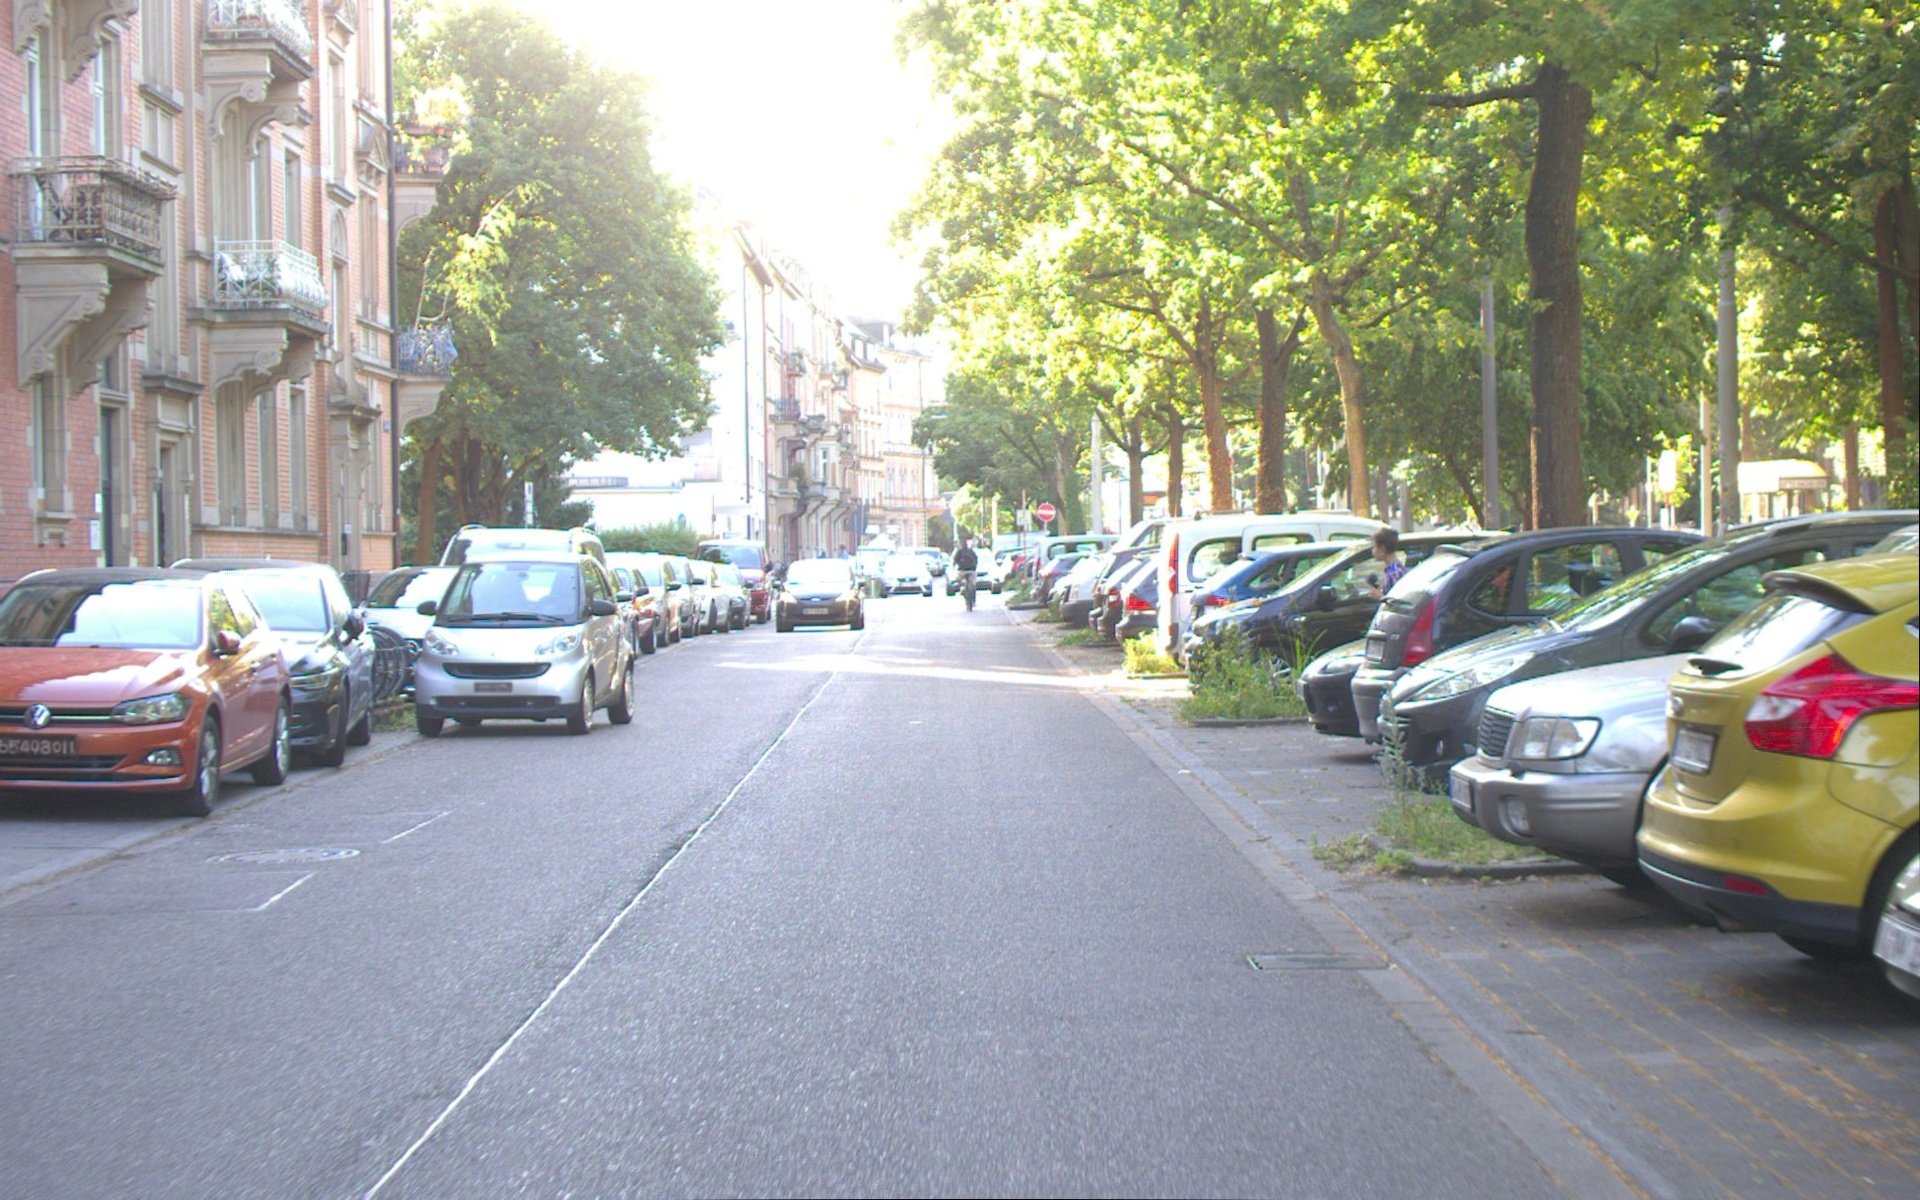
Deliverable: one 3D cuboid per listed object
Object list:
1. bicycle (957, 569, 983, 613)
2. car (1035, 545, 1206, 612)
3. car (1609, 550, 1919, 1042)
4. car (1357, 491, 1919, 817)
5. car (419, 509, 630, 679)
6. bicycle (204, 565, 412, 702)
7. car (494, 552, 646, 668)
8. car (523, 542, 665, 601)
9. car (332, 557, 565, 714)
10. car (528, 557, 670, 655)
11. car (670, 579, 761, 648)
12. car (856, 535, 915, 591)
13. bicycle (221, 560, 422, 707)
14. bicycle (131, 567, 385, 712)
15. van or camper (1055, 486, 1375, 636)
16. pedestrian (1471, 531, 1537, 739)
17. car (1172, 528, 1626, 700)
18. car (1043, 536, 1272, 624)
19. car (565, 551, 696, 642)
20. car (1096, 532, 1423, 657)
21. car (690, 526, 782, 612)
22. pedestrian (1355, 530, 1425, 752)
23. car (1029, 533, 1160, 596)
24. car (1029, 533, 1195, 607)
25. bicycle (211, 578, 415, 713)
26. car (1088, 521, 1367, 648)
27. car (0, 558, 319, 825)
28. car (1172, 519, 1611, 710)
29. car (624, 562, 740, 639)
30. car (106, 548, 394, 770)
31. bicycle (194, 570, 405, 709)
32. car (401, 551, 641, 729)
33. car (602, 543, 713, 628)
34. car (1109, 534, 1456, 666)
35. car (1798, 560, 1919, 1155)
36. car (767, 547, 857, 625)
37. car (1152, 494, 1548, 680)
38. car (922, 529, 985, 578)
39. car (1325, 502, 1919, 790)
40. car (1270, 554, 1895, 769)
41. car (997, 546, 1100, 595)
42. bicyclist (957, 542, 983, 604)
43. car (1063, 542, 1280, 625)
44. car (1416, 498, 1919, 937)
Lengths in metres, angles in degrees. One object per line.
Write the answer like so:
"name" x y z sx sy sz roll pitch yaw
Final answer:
"bicycle" 0.254 -0.226 88.022 0.641 1.096 1.944 0 -1 -1
"car" 3.881 -0.514 83.494 3.986 1.558 1.859 0 -1 -2
"car" 4.442 0.517 10.976 4.399 1.435 1.837 -2 0 3
"car" 4.451 0.249 18.508 4.399 1.585 1.838 -2 0 1
"car" -5.161 -0.035 41.345 1.993 1.914 5.040 0 -1 -1
"bicycle" -5.818 0.296 30.725 1.763 1.211 0.464 0 -1 0
"car" -5.275 0.102 46.871 1.669 1.481 4.000 1 1 -1
"car" -10.912 -0.835 102.681 3.987 1.700 2.000 0 -1 1
"car" -5.205 0.314 35.480 1.674 1.449 4.210 -2 1 1
"car" -5.431 0.061 52.105 1.670 1.425 4.241 0 1 0
"car" -5.430 0.271 76.738 1.756 1.461 4.268 0 1 0
"car" -2.552 -1.267 118.279 1.993 1.832 4.000 0 -1 -1
"bicycle" -5.892 0.311 31.760 1.763 1.343 0.496 0 -1 0
"bicycle" -5.981 0.340 29.294 2.087 1.211 0.442 0 -1 -15
"van or camper" 4.098 -0.602 55.880 4.981 2.369 2.185 0 -1 -1
"pedestrian" 4.050 0.256 25.590 0.380 1.511 0.518 0 3 19
"car" 4.215 0.125 33.415 4.081 1.437 1.762 -3 1 -2
"car" 3.910 -0.389 68.496 4.389 1.694 1.859 0 -1 -2
"car" -5.480 -0.080 57.541 1.704 1.424 3.877 1 1 2
"car" 3.982 -0.084 46.248 4.220 1.448 1.865 -3 1 1
"car" -5.322 -0.752 82.262 1.957 2.011 4.268 0 1 0
"pedestrian" 3.128 0.289 25.011 0.380 1.579 0.518 0 3 19
"car" 4.398 -1.152 112.118 3.989 2.007 1.999 0 -1 12
"car" 3.787 -0.736 86.167 3.986 1.788 1.859 0 -1 -2
"bicycle" -5.871 0.412 31.234 1.763 1.211 0.428 0 -1 0
"car" 3.958 -0.240 51.323 3.987 1.685 1.859 -3 1 1
"car" -5.219 0.498 21.521 1.753 1.459 4.000 1 1 -2
"car" 3.811 0.115 30.815 3.674 1.496 1.761 -3 1 1
"car" -5.473 -0.017 68.076 1.756 1.461 4.267 0 1 3
"car" -5.325 0.397 26.217 1.746 1.541 4.152 1 0 -6
"bicycle" -5.800 0.349 30.208 1.763 1.211 0.441 0 -1 0
"car" -3.798 0.317 30.127 1.504 1.430 2.752 -2 1 5
"car" -5.561 -0.292 63.592 1.756 1.510 4.162 0 1 -1
"car" 4.042 -0.010 43.352 4.220 1.448 1.648 -3 1 4
"car" 4.508 0.553 8.538 4.399 1.435 1.837 -2 0 3
"car" -2.979 -0.306 69.688 1.668 1.459 4.000 -2 1 -1
"car" 4.346 -0.154 38.799 4.220 1.857 1.761 -3 1 1
"car" -0.246 -1.626 119.939 1.778 1.668 4.488 0 1 -6
"car" 4.608 0.244 21.108 4.398 1.585 1.838 -2 0 -4
"car" 4.107 0.388 23.082 3.842 1.274 1.691 -2 1 -1
"car" 3.707 -1.219 143.659 3.989 2.007 1.999 0 -1 12
"bicyclist" 0.257 -0.680 87.976 0.627 1.568 0.802 0 -1 -1
"car" 4.024 -0.313 65.879 3.986 1.543 1.859 0 -1 -2
"car" 4.173 0.391 13.735 4.399 1.585 1.838 -2 0 0
